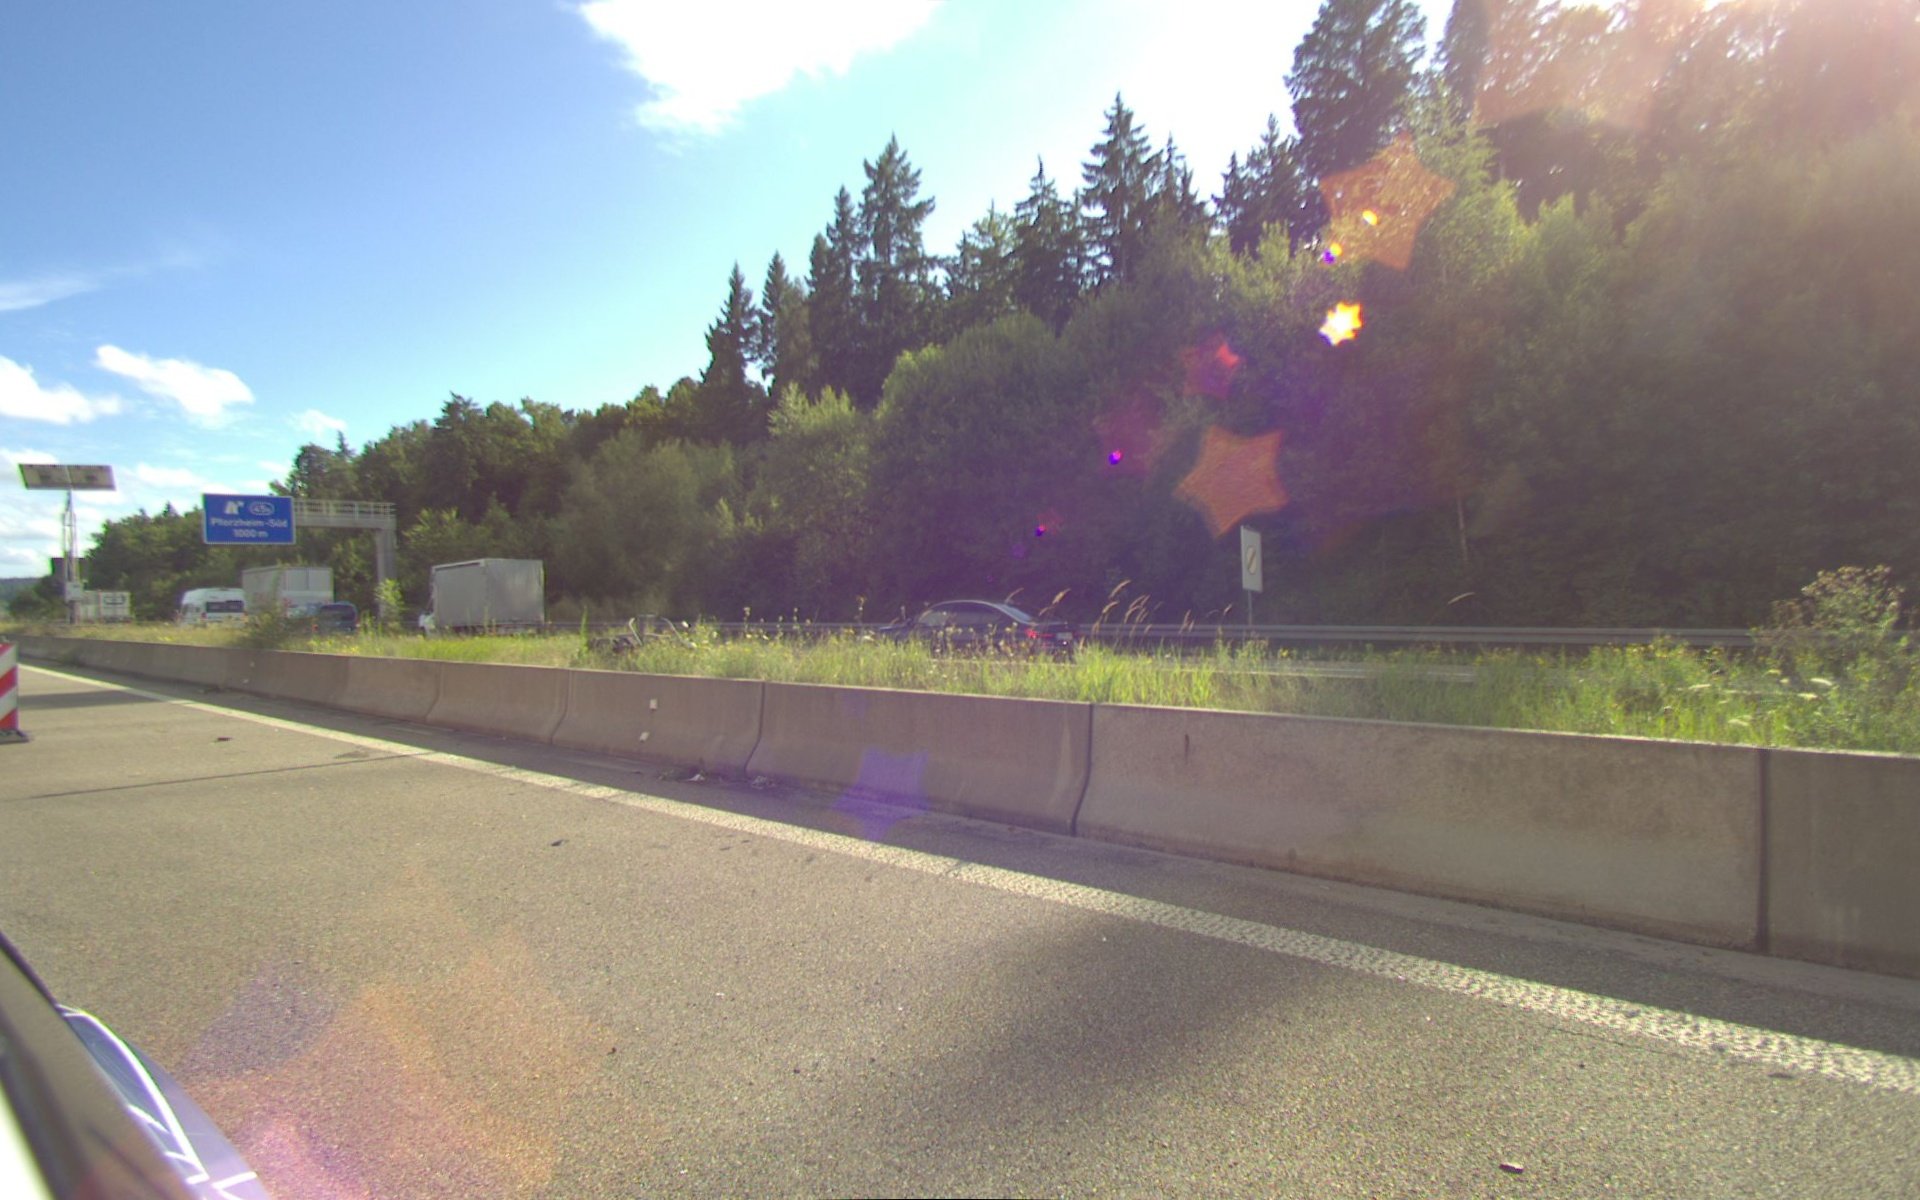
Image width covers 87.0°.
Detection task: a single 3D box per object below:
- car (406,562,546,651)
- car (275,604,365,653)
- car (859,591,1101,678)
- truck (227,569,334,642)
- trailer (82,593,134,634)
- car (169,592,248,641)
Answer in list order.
[{"bbox_3d":[-20.171,0.279,41.952,7.448,3.395,2.461,-1,0,41],"label":"car"},{"bbox_3d":[-25.345,1.084,40.019,4.117,1.826,1.924,-1,0,41],"label":"car"},{"bbox_3d":[0.266,0.566,18.470,4.309,1.398,1.760,-1,0,42],"label":"car"},{"bbox_3d":[-40.531,0.398,60.193,10.181,4.022,2.771,-1,-1,41],"label":"truck"},{"bbox_3d":[-85.380,1.299,101.343,8.484,3.953,2.762,-1,0,41],"label":"trailer"},{"bbox_3d":[-40.611,0.890,54.630,6.329,2.470,2.138,-1,0,42],"label":"car"}]
